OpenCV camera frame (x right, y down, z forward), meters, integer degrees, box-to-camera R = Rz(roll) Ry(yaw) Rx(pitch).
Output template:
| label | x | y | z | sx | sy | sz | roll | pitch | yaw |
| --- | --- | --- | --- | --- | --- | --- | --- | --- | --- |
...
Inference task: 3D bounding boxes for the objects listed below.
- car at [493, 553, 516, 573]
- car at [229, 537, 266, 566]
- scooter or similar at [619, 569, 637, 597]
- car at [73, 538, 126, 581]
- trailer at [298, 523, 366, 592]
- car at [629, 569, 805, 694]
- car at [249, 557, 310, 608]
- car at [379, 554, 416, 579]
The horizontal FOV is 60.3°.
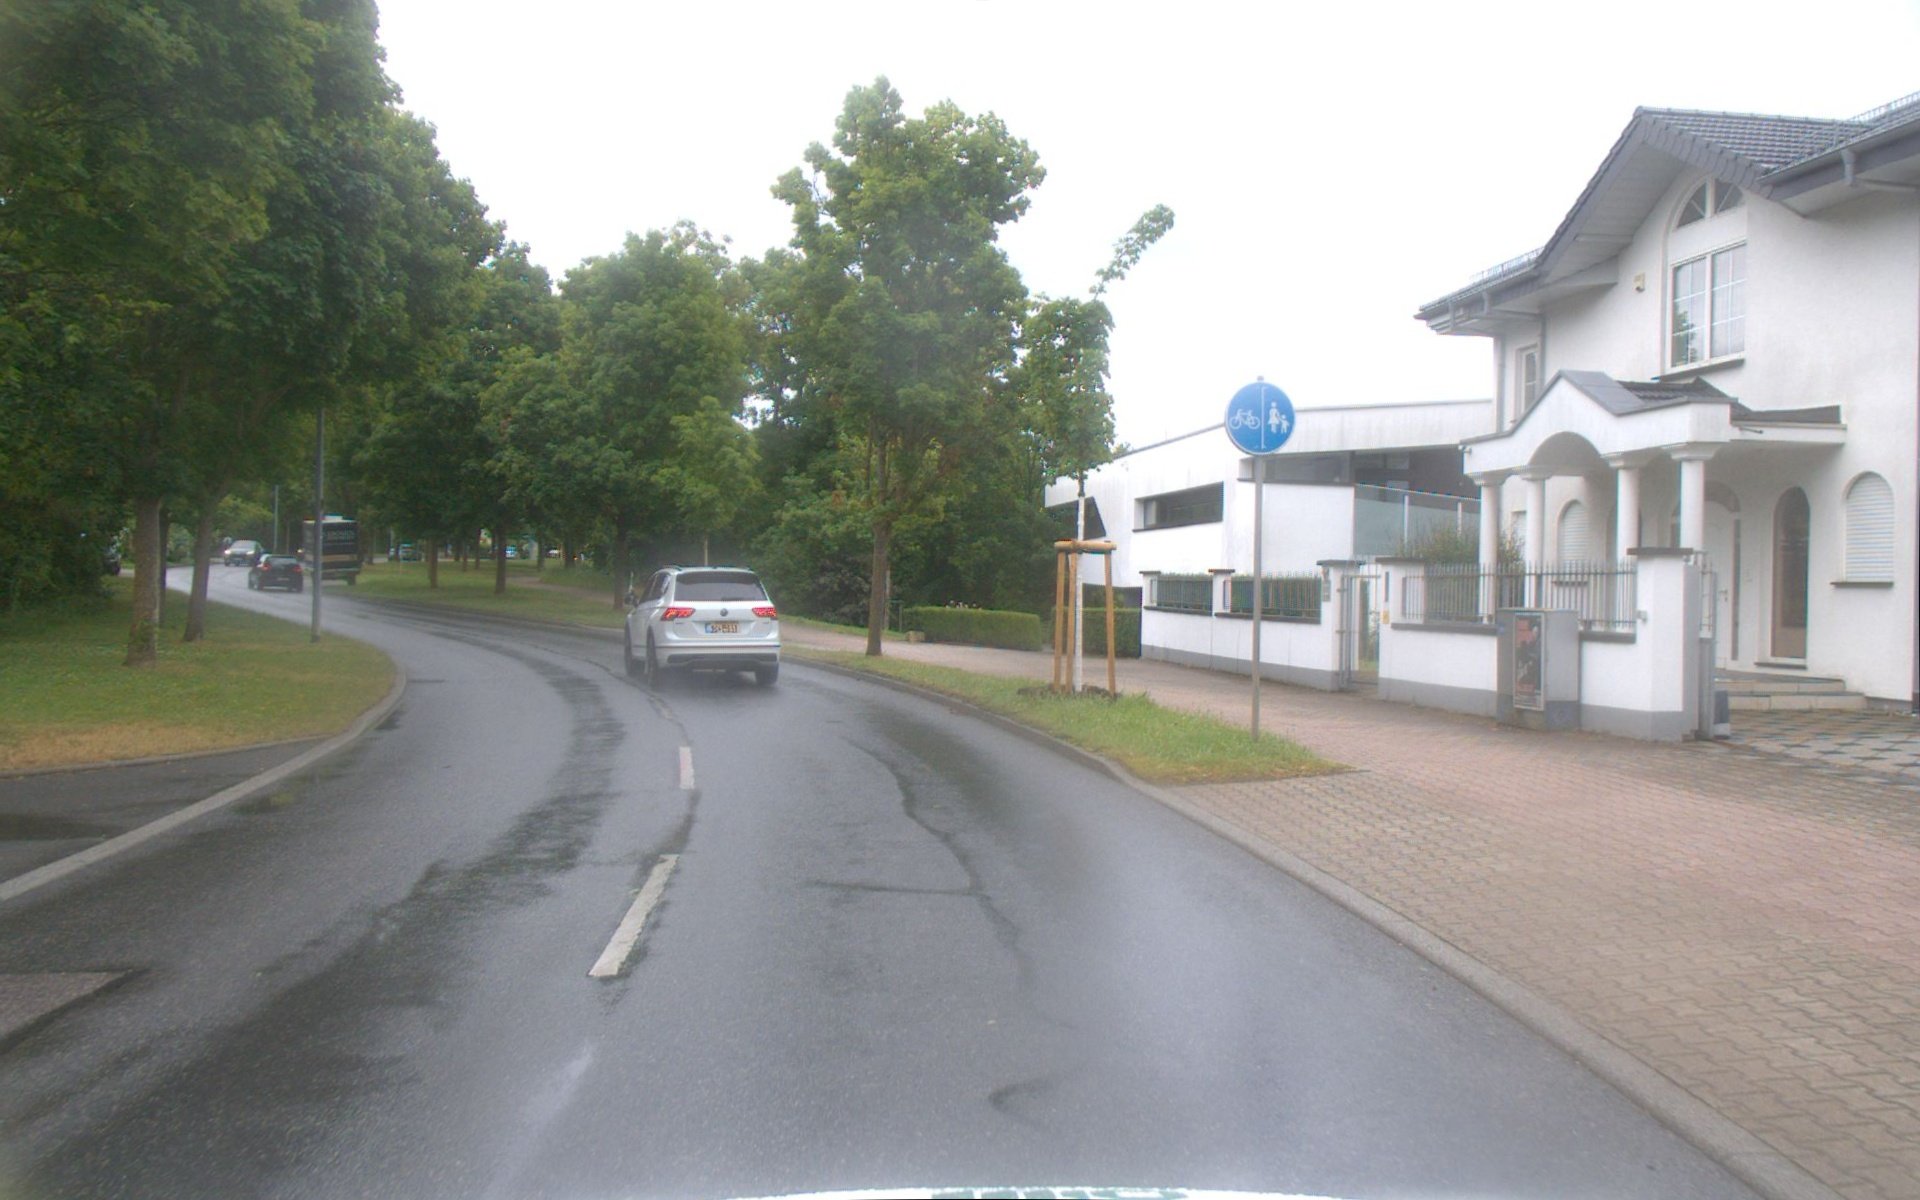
| label | x | y | z | sx | sy | sz | roll | pitch | yaw |
| --- | --- | --- | --- | --- | --- | --- | --- | --- | --- |
| car | -47.628 | -3.837 | 173.004 | 1.958 | 1.839 | 3.989 | 3 | 0 | -12 |
| car | -44.408 | -3.050 | 103.038 | 1.769 | 1.563 | 4.056 | 4 | 1 | -28 |
| scooter or similar | -13.854 | -0.715 | 69.052 | 0.457 | 1.166 | 1.291 | 0 | 2 | -25 |
| car | -37.134 | -1.741 | 71.322 | 1.732 | 1.669 | 4.546 | 4 | 0 | -30 |
| trailer | -28.018 | -1.935 | 73.689 | 1.972 | 2.856 | 5.556 | -5 | 4 | -28 |
| car | -3.677 | 0.417 | 24.396 | 1.943 | 1.682 | 4.156 | 0 | 0 | -18 |
| car | -28.251 | -0.714 | 68.624 | 1.880 | 2.049 | 3.906 | 0 | 0 | -29 |
| car | -45.244 | -2.672 | 133.109 | 1.956 | 1.836 | 3.993 | 3 | 0 | -8 |
